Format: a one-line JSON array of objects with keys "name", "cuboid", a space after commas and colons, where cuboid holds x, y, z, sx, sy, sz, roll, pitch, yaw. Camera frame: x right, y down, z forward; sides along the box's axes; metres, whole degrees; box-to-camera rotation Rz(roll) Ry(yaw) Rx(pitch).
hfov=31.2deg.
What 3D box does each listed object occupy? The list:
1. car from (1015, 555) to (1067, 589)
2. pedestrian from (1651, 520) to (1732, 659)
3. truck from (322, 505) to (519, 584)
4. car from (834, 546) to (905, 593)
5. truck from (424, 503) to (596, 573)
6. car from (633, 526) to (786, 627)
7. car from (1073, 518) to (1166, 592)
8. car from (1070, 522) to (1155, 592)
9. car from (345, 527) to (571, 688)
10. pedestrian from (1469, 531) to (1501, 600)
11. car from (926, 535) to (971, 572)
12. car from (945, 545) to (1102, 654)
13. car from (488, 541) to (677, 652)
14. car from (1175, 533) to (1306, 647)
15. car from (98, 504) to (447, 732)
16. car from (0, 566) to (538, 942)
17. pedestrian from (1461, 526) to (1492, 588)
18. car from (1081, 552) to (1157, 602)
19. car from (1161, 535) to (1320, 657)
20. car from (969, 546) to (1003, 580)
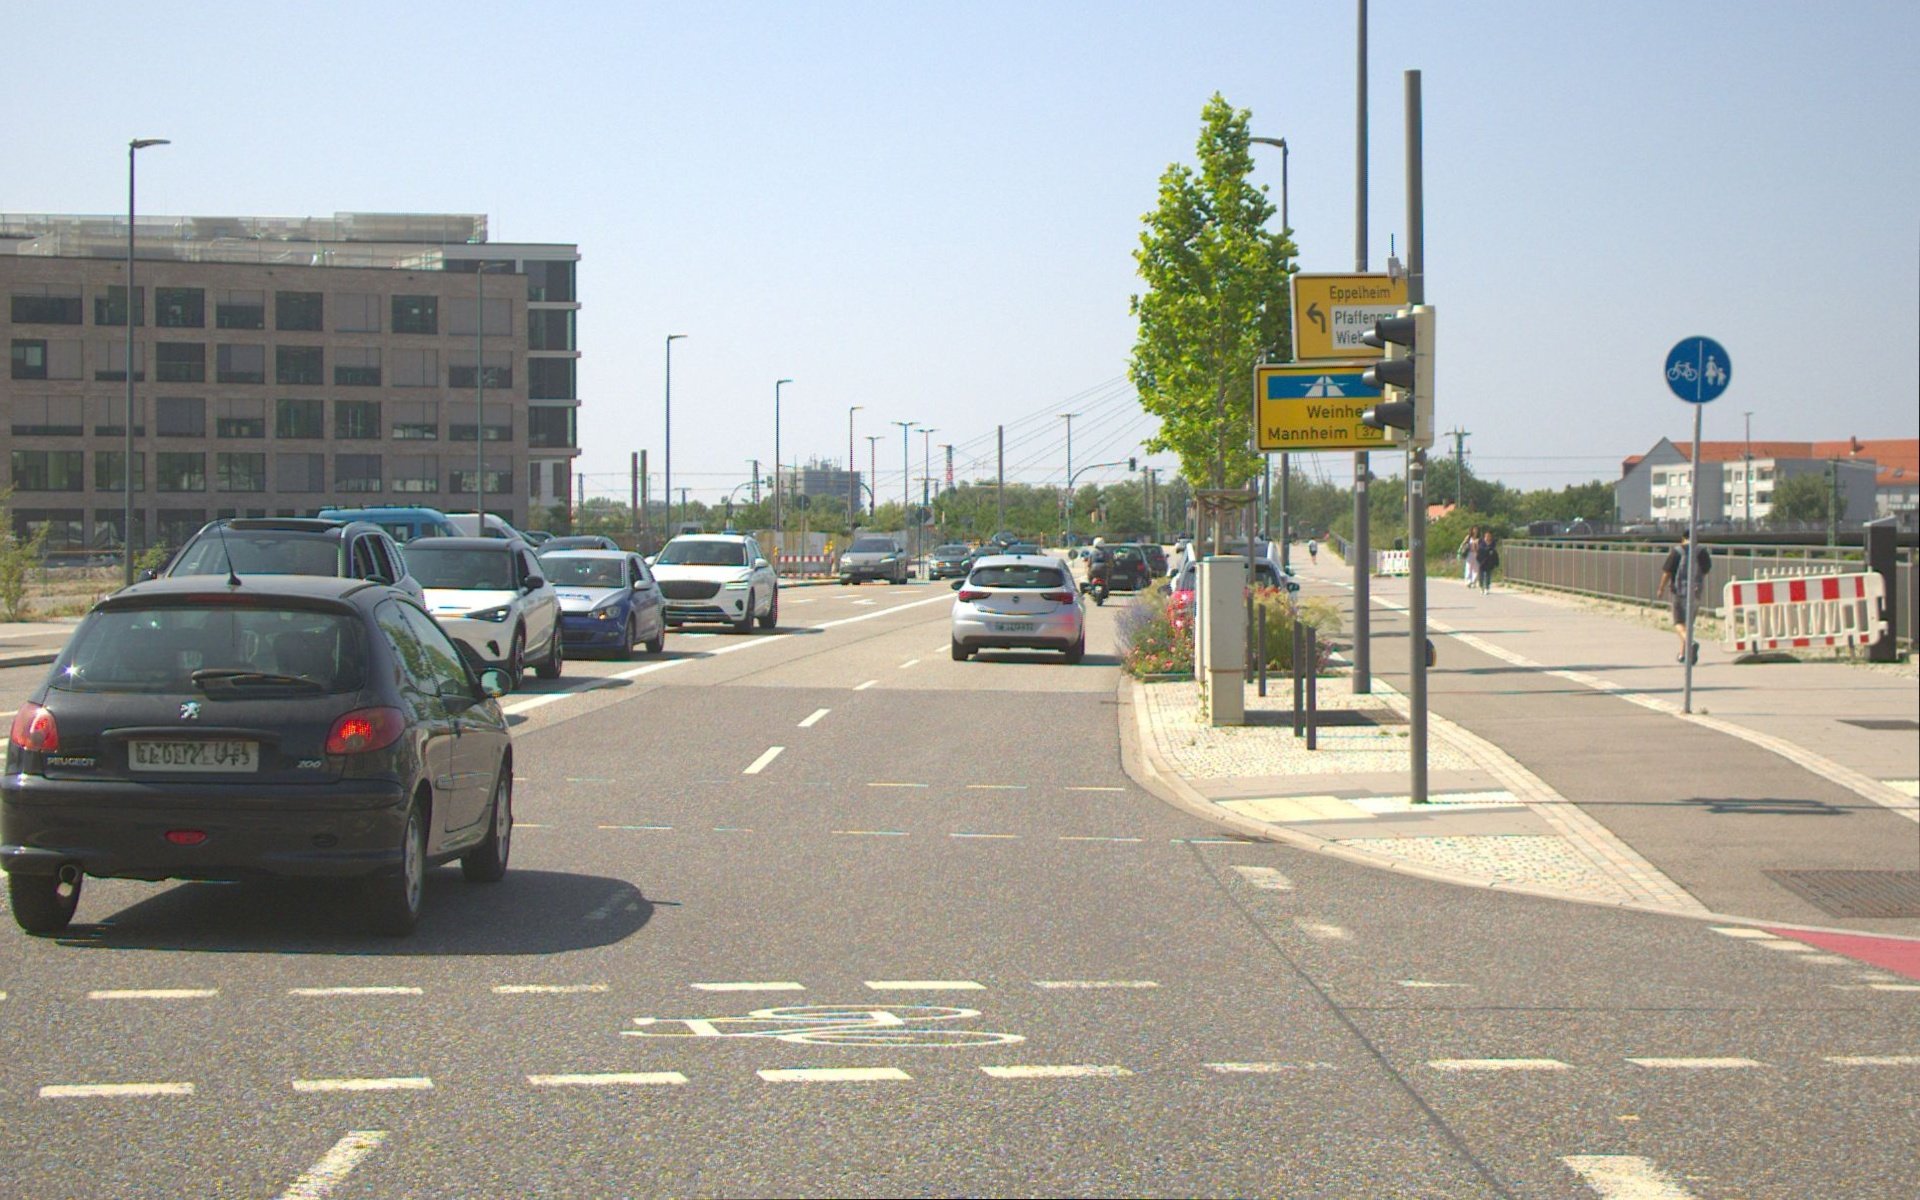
[{"name": "car", "cuboid": [3.387, -1.173, 142.744, 1.787, 1.393, 4.571, 1, 1, 6]}, {"name": "pedestrian", "cuboid": [8.679, -0.127, 40.822, 0.750, 1.603, 0.949, -2, 1, 4]}, {"name": "truck", "cuboid": [-17.578, -1.807, 112.139, 6.004, 2.534, 2.275, 0, 1, 3]}, {"name": "car", "cuboid": [-2.927, -0.978, 111.842, 1.894, 1.410, 3.597, 2, 0, 4]}, {"name": "truck", "cuboid": [-15.593, -2.150, 119.370, 5.567, 2.354, 2.275, 0, 1, 3]}, {"name": "car", "cuboid": [-4.247, -0.397, 58.935, 1.913, 1.644, 4.730, -1, 0, 4]}, {"name": "car", "cuboid": [3.835, -1.088, 83.472, 1.793, 1.744, 4.001, 0, 1, -4]}, {"name": "car", "cuboid": [3.711, -1.025, 83.056, 1.778, 1.563, 3.999, 2, 0, 6]}, {"name": "car", "cuboid": [-5.499, 0.034, 38.116, 1.778, 1.676, 4.099, 0, 1, 2]}, {"name": "pedestrian", "cuboid": [13.193, -0.854, 86.403, 0.732, 1.699, 0.651, 2, -1, 5]}, {"name": "car", "cuboid": [-0.467, -1.959, 145.276, 1.794, 1.411, 4.000, 2, 0, 1]}, {"name": "car", "cuboid": [0.934, -0.024, 48.085, 1.778, 1.437, 3.999, 1, 1, 7]}, {"name": "car", "cuboid": [-5.083, -0.063, 46.805, 1.786, 1.416, 4.281, 1, 1, 4]}, {"name": "car", "cuboid": [4.224, -0.167, 52.404, 1.872, 1.621, 4.876, 1, 1, 4]}, {"name": "car", "cuboid": [-5.893, 0.089, 30.059, 1.939, 1.782, 4.655, 2, 1, 2]}, {"name": "car", "cuboid": [-2.930, 0.569, 15.005, 1.619, 1.411, 3.727, 1, 1, 1]}, {"name": "pedestrian", "cuboid": [14.270, -1.183, 95.070, 0.781, 1.699, 0.742, 1, 0, 5]}, {"name": "car", "cuboid": [4.440, -0.640, 96.519, 1.632, 1.306, 4.000, 2, 0, -4]}, {"name": "car", "cuboid": [3.699, -0.071, 45.532, 1.994, 1.514, 3.999, 1, 1, 4]}, {"name": "car", "cuboid": [1.275, -1.790, 168.138, 1.579, 1.557, 3.673, 2, 0, 1]}]
